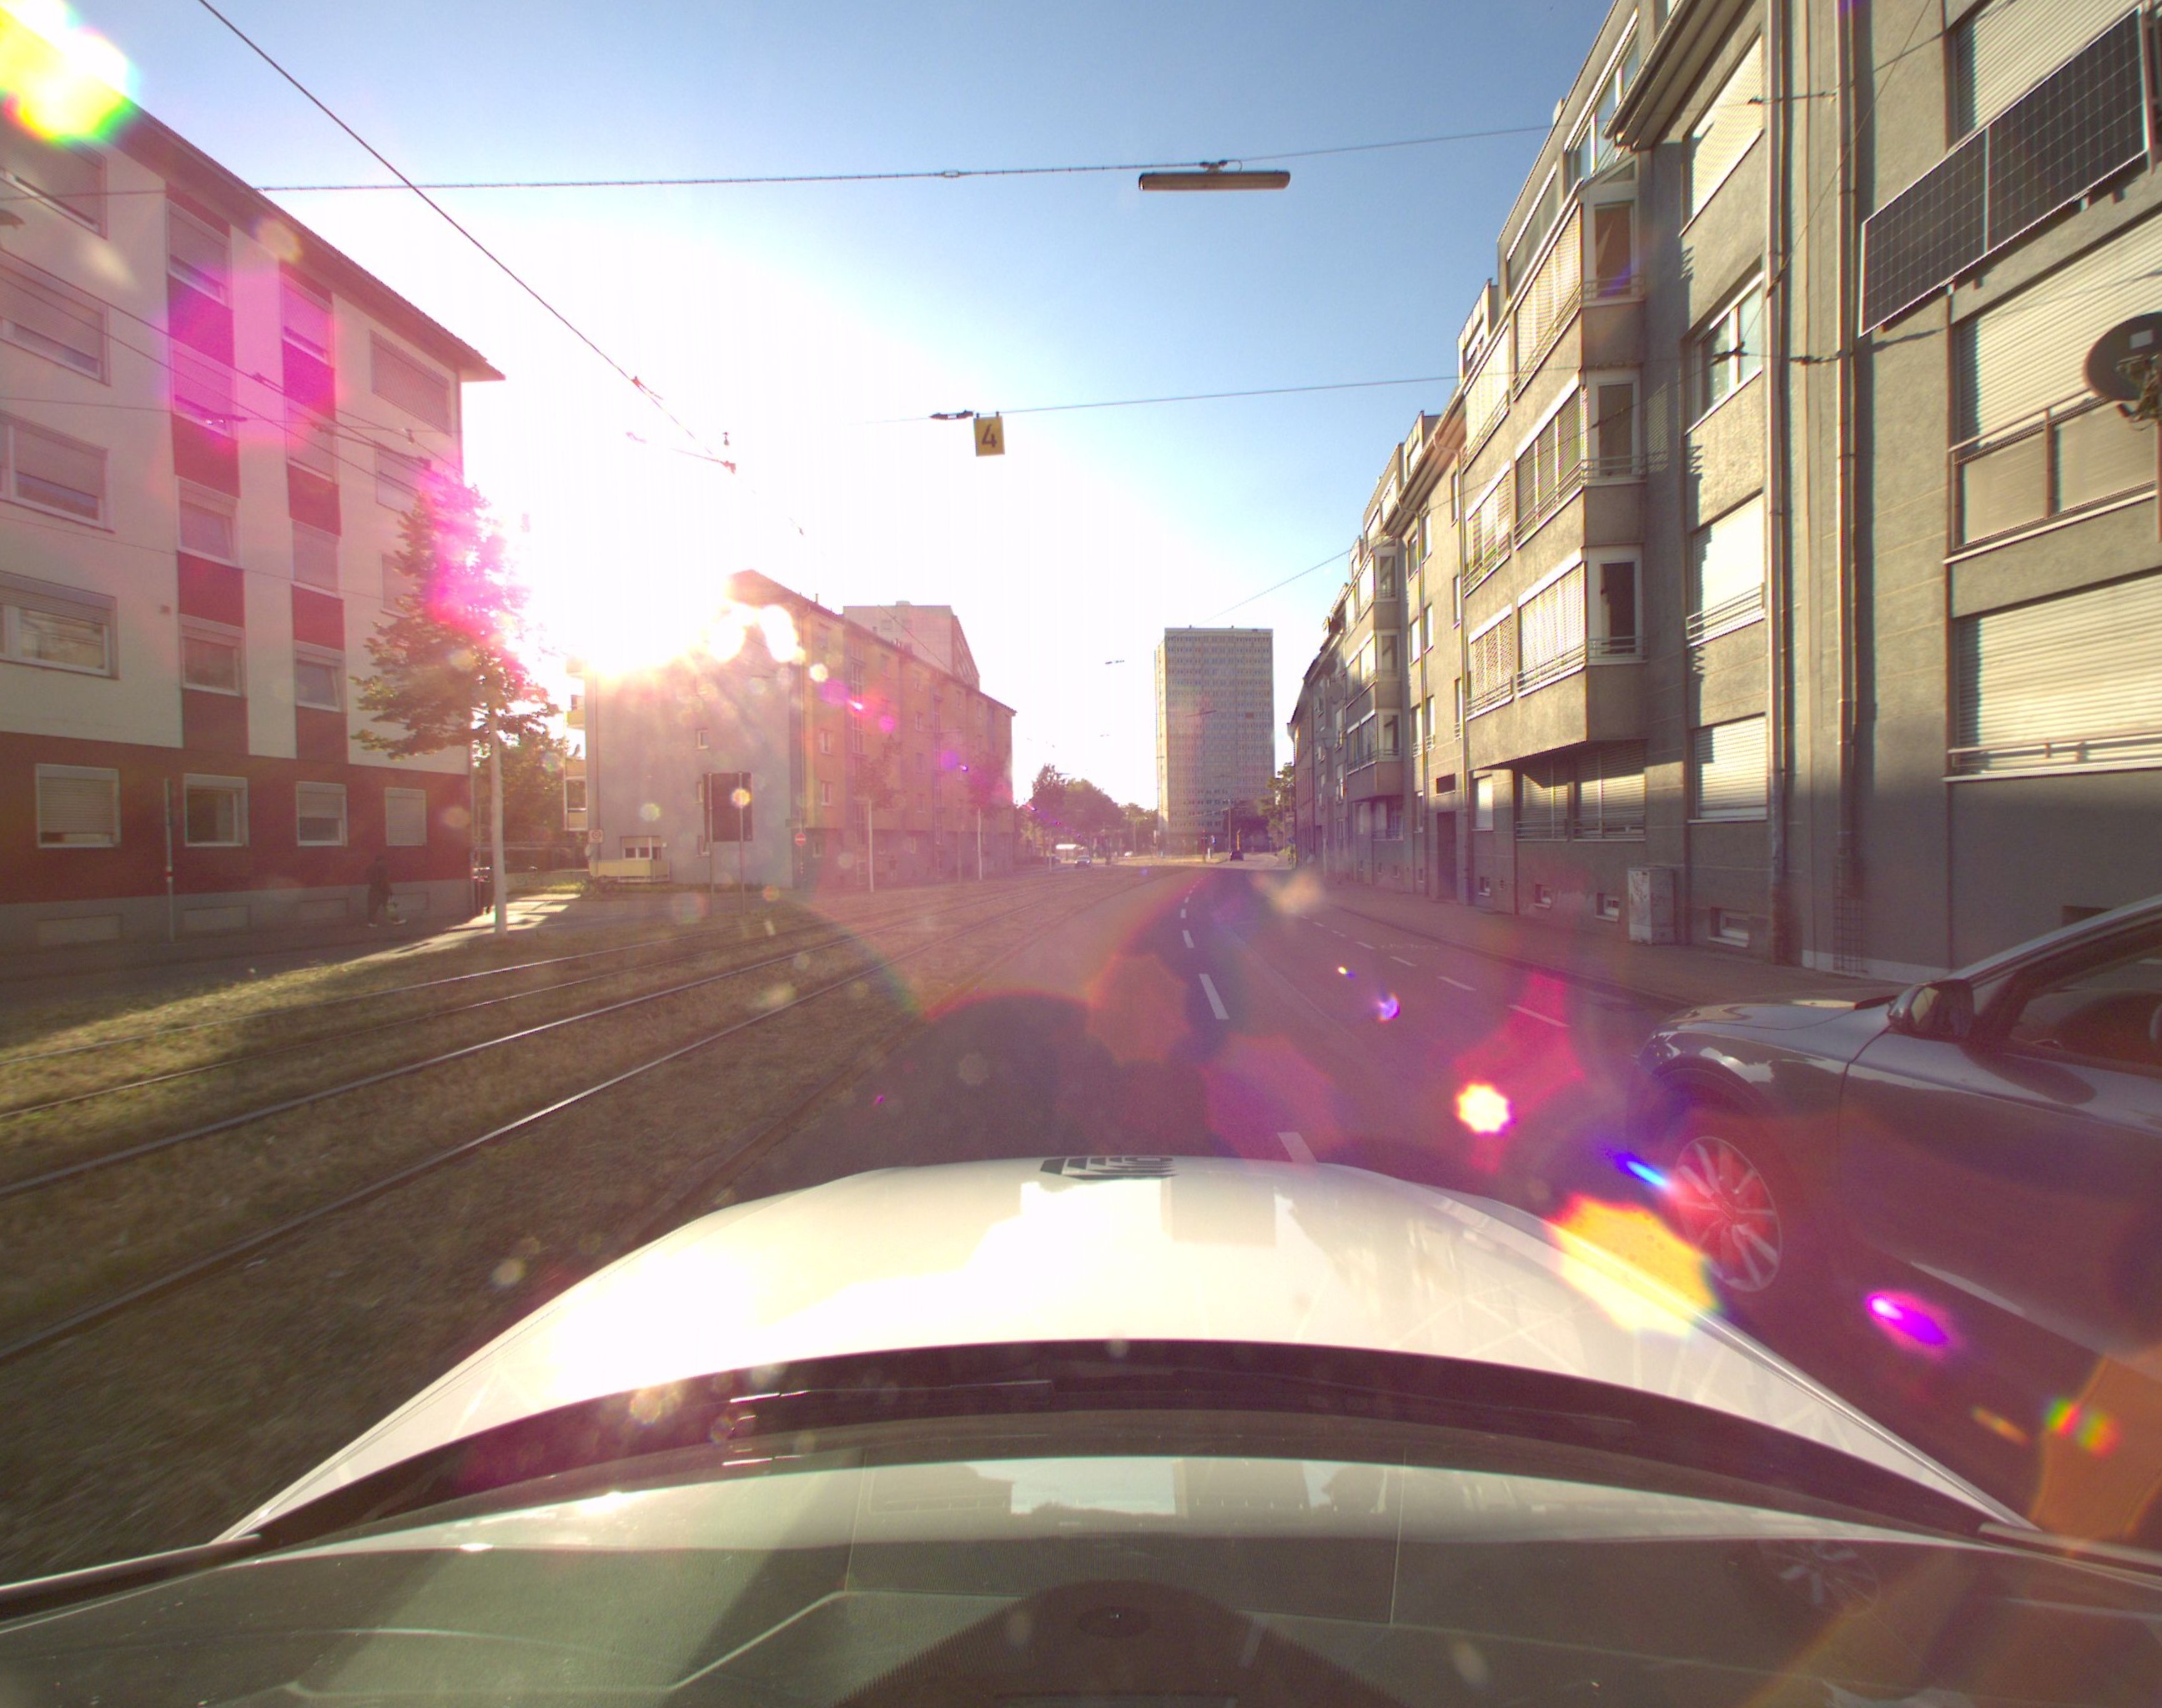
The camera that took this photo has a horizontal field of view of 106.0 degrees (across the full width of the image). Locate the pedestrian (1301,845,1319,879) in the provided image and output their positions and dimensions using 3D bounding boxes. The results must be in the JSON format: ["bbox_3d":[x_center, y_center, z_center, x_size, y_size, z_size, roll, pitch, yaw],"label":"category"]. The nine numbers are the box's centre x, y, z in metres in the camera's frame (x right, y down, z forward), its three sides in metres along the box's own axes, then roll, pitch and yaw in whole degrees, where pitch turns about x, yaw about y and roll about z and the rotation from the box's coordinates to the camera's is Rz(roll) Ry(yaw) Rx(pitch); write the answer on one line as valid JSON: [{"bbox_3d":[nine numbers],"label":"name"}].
[{"bbox_3d":[12.280,0.418,43.700,0.825,1.771,0.999,-2,0,10],"label":"pedestrian"}]

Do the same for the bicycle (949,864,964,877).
[{"bbox_3d":[-9.553,1.228,62.408,0.424,0.925,1.918,2,1,12],"label":"bicycle"}]

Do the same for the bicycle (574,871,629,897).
[{"bbox_3d":[-21.124,1.315,35.895,1.953,1.076,0.602,-1,0,-7],"label":"bicycle"}]

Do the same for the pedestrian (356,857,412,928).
[{"bbox_3d":[-16.968,0.919,19.839,0.610,1.689,0.793,-1,0,5],"label":"pedestrian"}]

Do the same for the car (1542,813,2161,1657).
[{"bbox_3d":[2.896,0.695,1.585,1.760,1.587,4.069,-1,1,1],"label":"car"}]

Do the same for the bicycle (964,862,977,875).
[{"bbox_3d":[-8.963,1.153,66.056,0.424,0.960,1.918,-1,0,12],"label":"bicycle"}]

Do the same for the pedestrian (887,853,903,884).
[{"bbox_3d":[-11.298,0.878,49.471,0.589,1.773,0.888,3,1,10],"label":"pedestrian"}]

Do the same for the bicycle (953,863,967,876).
[{"bbox_3d":[-9.445,1.206,63.686,0.424,0.925,1.918,2,1,12],"label":"bicycle"}]

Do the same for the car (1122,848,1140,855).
[{"bbox_3d":[11.642,-0.506,190.991,2.010,1.530,3.954,-1,0,-38],"label":"car"}]

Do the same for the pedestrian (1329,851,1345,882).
[{"bbox_3d":[11.084,0.538,35.271,0.511,1.344,0.610,-2,-1,6],"label":"pedestrian"}]

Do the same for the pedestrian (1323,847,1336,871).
[{"bbox_3d":[13.302,0.257,43.554,0.583,1.251,0.586,-2,0,10],"label":"pedestrian"}]

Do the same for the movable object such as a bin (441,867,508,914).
[{"bbox_3d":[-19.198,1.146,25.795,1.210,1.415,1.140,-1,0,6],"label":"movable object such as a bin"}]

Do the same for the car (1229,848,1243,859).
[{"bbox_3d":[20.889,-0.046,109.852,1.760,1.422,3.869,-2,1,12],"label":"car"}]

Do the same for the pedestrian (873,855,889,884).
[{"bbox_3d":[-12.088,0.908,49.200,0.612,1.694,0.708,3,1,10],"label":"pedestrian"}]

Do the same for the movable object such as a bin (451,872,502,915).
[{"bbox_3d":[-17.938,1.158,24.185,0.862,1.226,0.807,-1,0,6],"label":"movable object such as a bin"}]

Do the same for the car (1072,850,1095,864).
[{"bbox_3d":[0.332,0.385,96.732,1.782,1.469,4.808,-3,-1,9],"label":"car"}]
